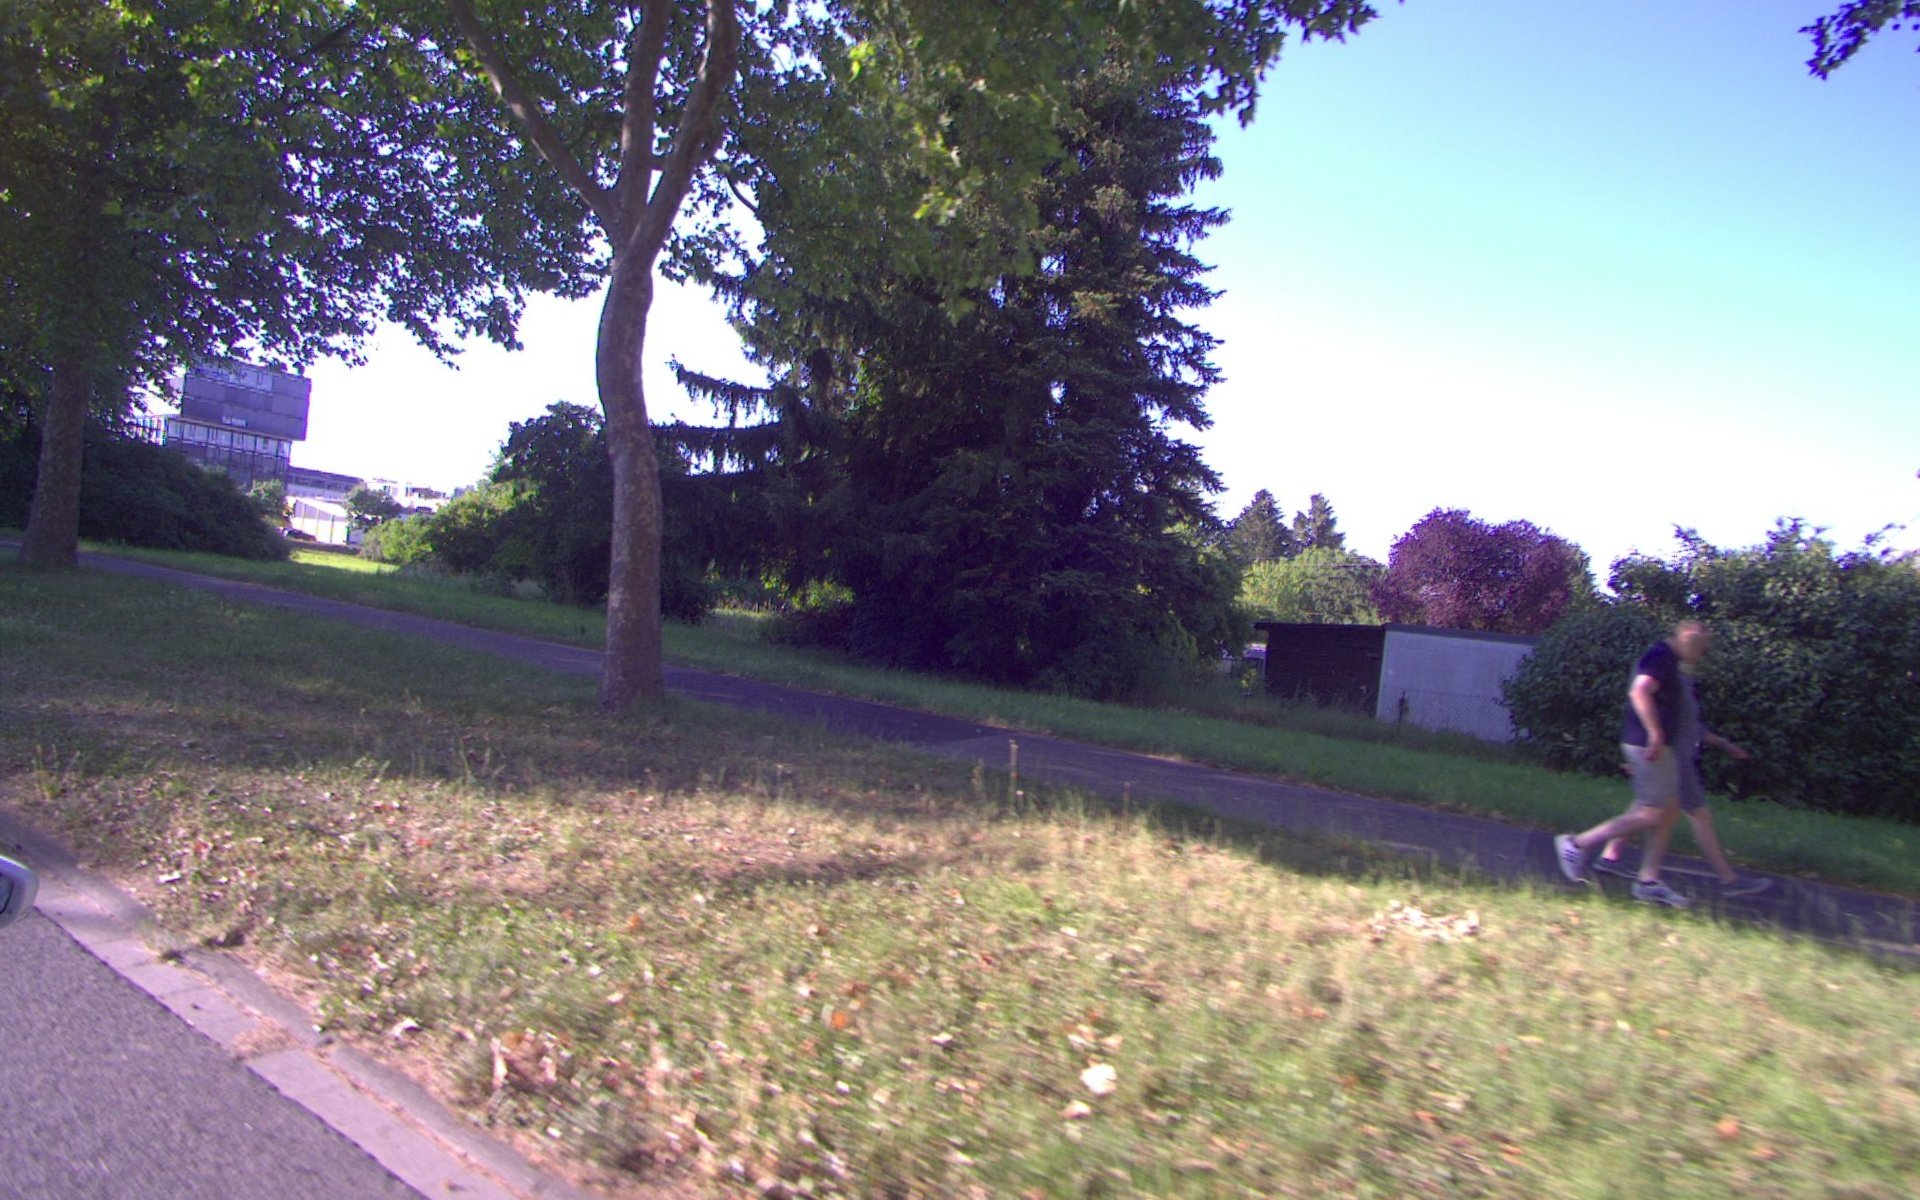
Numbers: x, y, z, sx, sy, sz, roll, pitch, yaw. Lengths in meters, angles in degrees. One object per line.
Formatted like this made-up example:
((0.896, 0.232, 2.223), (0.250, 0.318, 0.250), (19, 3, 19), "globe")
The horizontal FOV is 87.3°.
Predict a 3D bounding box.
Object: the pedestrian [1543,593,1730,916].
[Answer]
((4.374, 0.953, 6.536), (0.775, 1.869, 0.762), (7, 0, 34), "pedestrian")

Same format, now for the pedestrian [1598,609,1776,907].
((5.071, 1.062, 7.071), (0.789, 1.870, 0.755), (7, 0, 34), "pedestrian")
